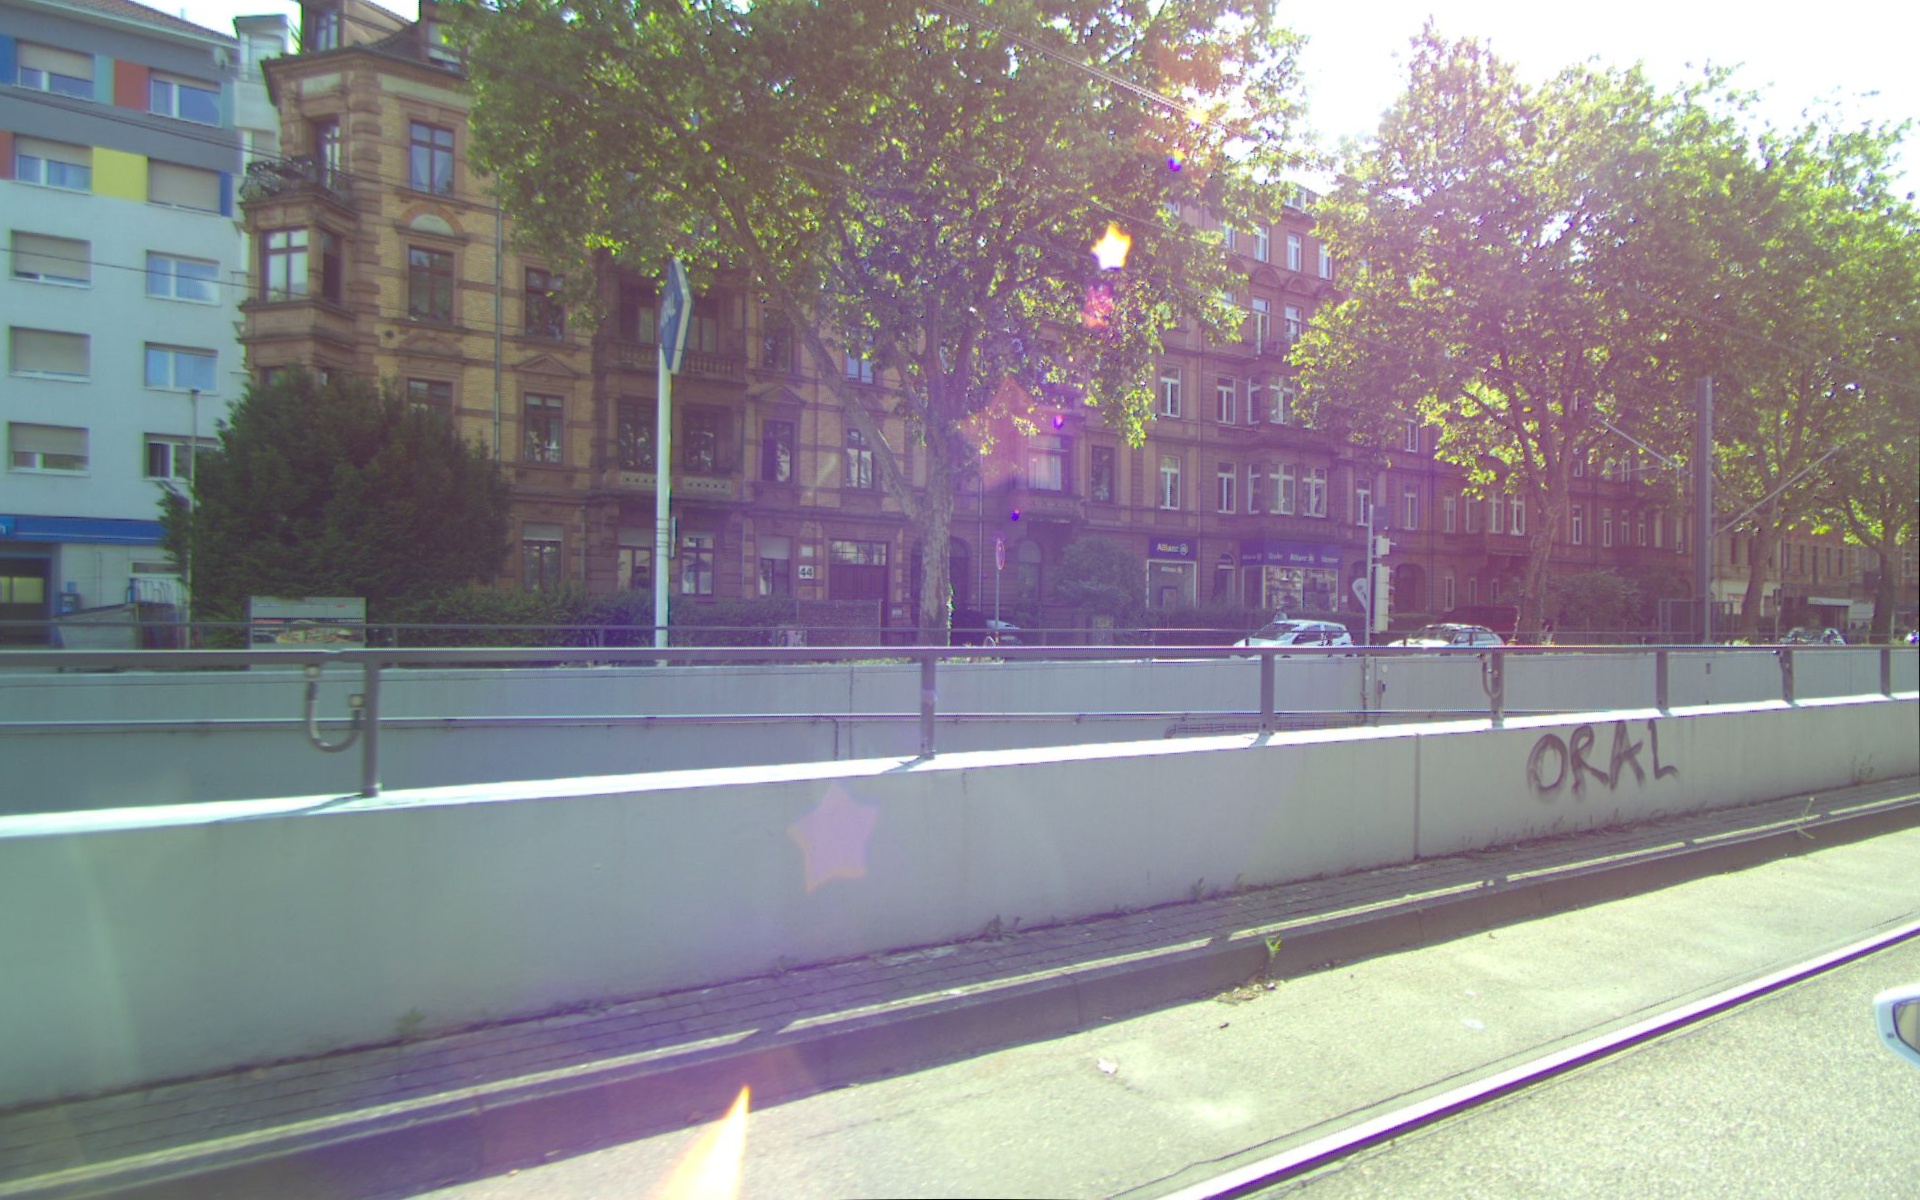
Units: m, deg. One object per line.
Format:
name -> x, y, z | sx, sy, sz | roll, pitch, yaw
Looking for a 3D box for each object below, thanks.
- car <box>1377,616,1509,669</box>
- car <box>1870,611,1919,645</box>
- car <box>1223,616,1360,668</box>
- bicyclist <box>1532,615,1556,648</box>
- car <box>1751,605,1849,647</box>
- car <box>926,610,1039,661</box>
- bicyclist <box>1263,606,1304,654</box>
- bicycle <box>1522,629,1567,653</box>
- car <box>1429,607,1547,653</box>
car -> 14.475, 1.267, 30.061 | 3.955, 1.501, 1.635 | 1, -3, -31
car -> 48.393, 1.439, 50.998 | 3.950, 1.658, 1.986 | 1, -3, -28
car -> 8.853, 1.120, 26.771 | 3.447, 1.320, 1.492 | 1, -3, -28
bicyclist -> 22.683, 1.214, 39.022 | 0.715, 1.248, 0.532 | 1, -1, -30
car -> 35.849, 1.120, 42.870 | 3.677, 1.713, 1.714 | 0, -2, -24
car -> 0.657, 1.085, 32.183 | 1.975, 1.503, 3.972 | 1, -1, -27
bicyclist -> 10.101, 0.939, 31.364 | 1.032, 1.475, 0.685 | 1, -1, -30
bicycle -> 22.712, 1.593, 39.043 | 2.123, 0.925, 0.532 | 1, -1, -30
car -> 23.880, 1.316, 45.561 | 1.977, 1.944, 4.379 | 1, -1, -31
